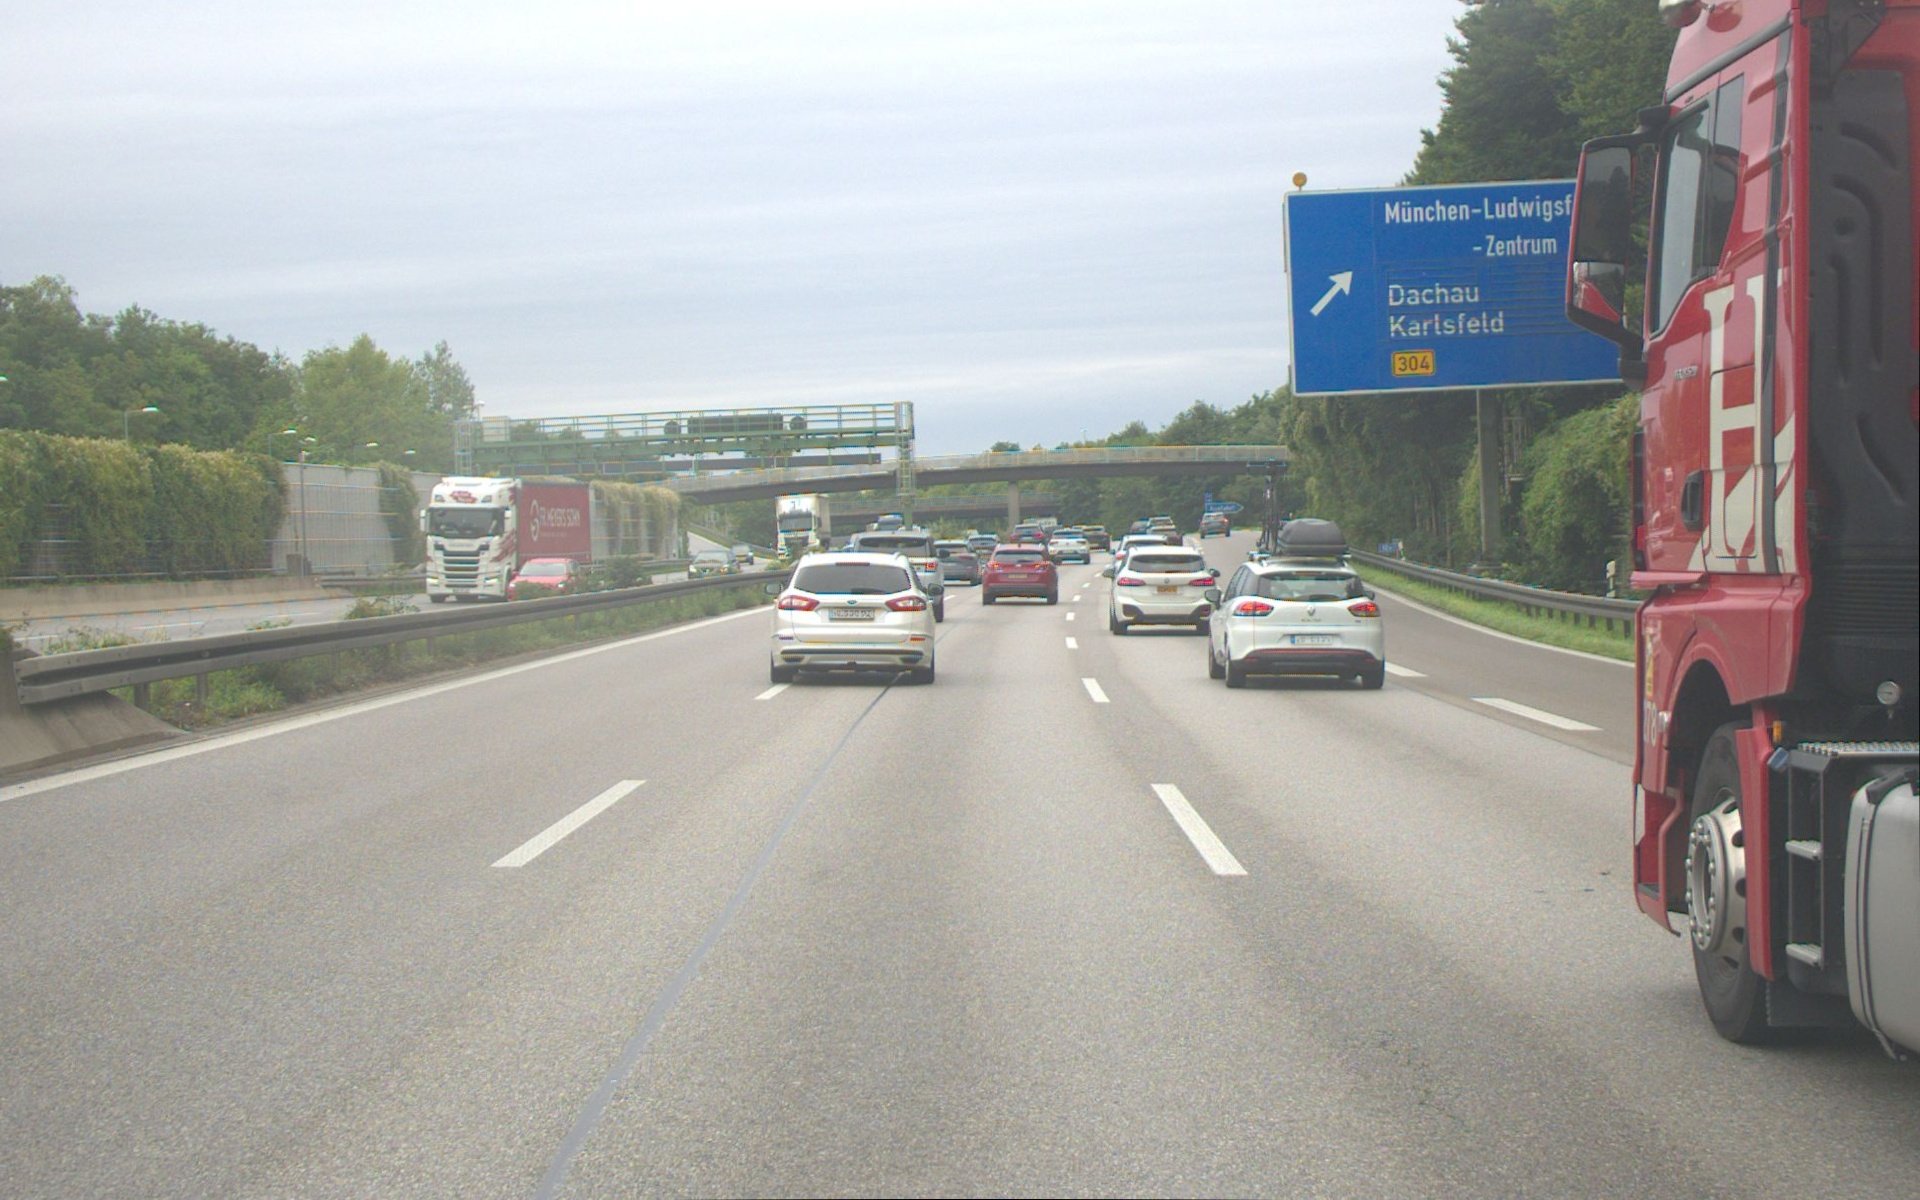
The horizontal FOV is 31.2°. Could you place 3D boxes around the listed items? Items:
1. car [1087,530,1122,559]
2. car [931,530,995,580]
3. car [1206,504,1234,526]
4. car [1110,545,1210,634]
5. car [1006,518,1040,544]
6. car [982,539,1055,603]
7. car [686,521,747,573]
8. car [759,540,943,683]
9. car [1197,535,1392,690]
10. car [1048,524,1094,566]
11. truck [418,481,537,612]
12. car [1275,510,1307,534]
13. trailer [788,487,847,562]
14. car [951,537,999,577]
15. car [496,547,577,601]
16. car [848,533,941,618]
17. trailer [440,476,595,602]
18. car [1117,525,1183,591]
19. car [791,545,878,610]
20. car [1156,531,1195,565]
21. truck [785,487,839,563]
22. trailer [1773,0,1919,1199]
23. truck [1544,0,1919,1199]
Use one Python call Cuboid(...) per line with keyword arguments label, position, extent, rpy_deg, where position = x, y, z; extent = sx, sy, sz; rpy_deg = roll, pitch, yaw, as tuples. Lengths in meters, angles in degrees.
Cuboid(label="car", position=(7.763, -2.969, 184.177), extent=(1.689, 1.534, 3.871), rpy_deg=(0, 1, 5))
Cuboid(label="car", position=(0.118, -1.445, 109.114), extent=(1.689, 1.501, 3.871), rpy_deg=(-1, 1, 5))
Cuboid(label="car", position=(16.540, -5.401, 219.104), extent=(1.689, 1.417, 3.871), rpy_deg=(0, 1, 3))
Cuboid(label="car", position=(3.487, -0.195, 60.257), extent=(1.689, 1.501, 3.871), rpy_deg=(0, 0, 3))
Cuboid(label="car", position=(3.455, -3.790, 188.169), extent=(1.689, 1.417, 3.871), rpy_deg=(0, 1, 3))
Cuboid(label="car", position=(1.449, -0.718, 83.699), extent=(1.689, 1.501, 3.871), rpy_deg=(1, 1, 2))
Cuboid(label="car", position=(-9.715, -2.135, 137.418), extent=(1.993, 1.732, 4.001), rpy_deg=(3, 4, 1))
Cuboid(label="car", position=(-1.185, 0.102, 39.618), extent=(1.892, 1.499, 5.030), rpy_deg=(1, 1, 0))
Cuboid(label="car", position=(3.734, 0.112, 39.113), extent=(1.816, 1.620, 5.030), rpy_deg=(-1, 0, 1))
Cuboid(label="car", position=(4.852, -2.374, 149.698), extent=(1.790, 1.773, 3.871), rpy_deg=(-1, 0, 5))
Cuboid(label="truck", position=(-15.727, -1.755, 112.446), extent=(2.668, 4.113, 5.916), rpy_deg=(-1, 1, 4))
Cuboid(label="car", position=(19.437, -4.584, 201.745), extent=(1.689, 1.417, 3.871), rpy_deg=(0, 1, 3))
Cuboid(label="trailer", position=(-8.630, -4.599, 208.914), extent=(2.668, 4.429, 8.572), rpy_deg=(-1, 1, 4))
Cuboid(label="car", position=(0.657, -1.818, 146.407), extent=(1.689, 1.634, 3.871), rpy_deg=(-1, 0, 5))
Cuboid(label="car", position=(-12.465, -0.770, 101.394), extent=(1.771, 1.564, 4.717), rpy_deg=(0, 0, 0))
Cuboid(label="car", position=(-1.260, -0.510, 67.933), extent=(1.689, 1.501, 3.872), rpy_deg=(4, 2, 0))
Cuboid(label="trailer", position=(-15.202, -2.140, 119.254), extent=(2.745, 4.113, 13.687), rpy_deg=(0, 1, 4))
Cuboid(label="car", position=(5.345, -1.159, 96.371), extent=(1.689, 1.773, 3.871), rpy_deg=(-1, 0, 5))
Cuboid(label="car", position=(-3.130, -0.535, 86.609), extent=(1.720, 1.464, 5.029), rpy_deg=(-1, -1, 4))
Cuboid(label="car", position=(9.888, -2.380, 157.546), extent=(1.689, 1.534, 3.871), rpy_deg=(0, 1, 5))
Cuboid(label="truck", position=(-8.821, -4.450, 205.153), extent=(2.649, 4.458, 5.282), rpy_deg=(-1, 1, 4))
Cuboid(label="trailer", position=(3.613, -0.464, 2.575), extent=(2.668, 3.925, 13.131), rpy_deg=(0, 1, -1))
Cuboid(label="truck", position=(3.577, -0.556, 9.655), extent=(2.695, 3.899, 6.557), rpy_deg=(0, 1, -1))
